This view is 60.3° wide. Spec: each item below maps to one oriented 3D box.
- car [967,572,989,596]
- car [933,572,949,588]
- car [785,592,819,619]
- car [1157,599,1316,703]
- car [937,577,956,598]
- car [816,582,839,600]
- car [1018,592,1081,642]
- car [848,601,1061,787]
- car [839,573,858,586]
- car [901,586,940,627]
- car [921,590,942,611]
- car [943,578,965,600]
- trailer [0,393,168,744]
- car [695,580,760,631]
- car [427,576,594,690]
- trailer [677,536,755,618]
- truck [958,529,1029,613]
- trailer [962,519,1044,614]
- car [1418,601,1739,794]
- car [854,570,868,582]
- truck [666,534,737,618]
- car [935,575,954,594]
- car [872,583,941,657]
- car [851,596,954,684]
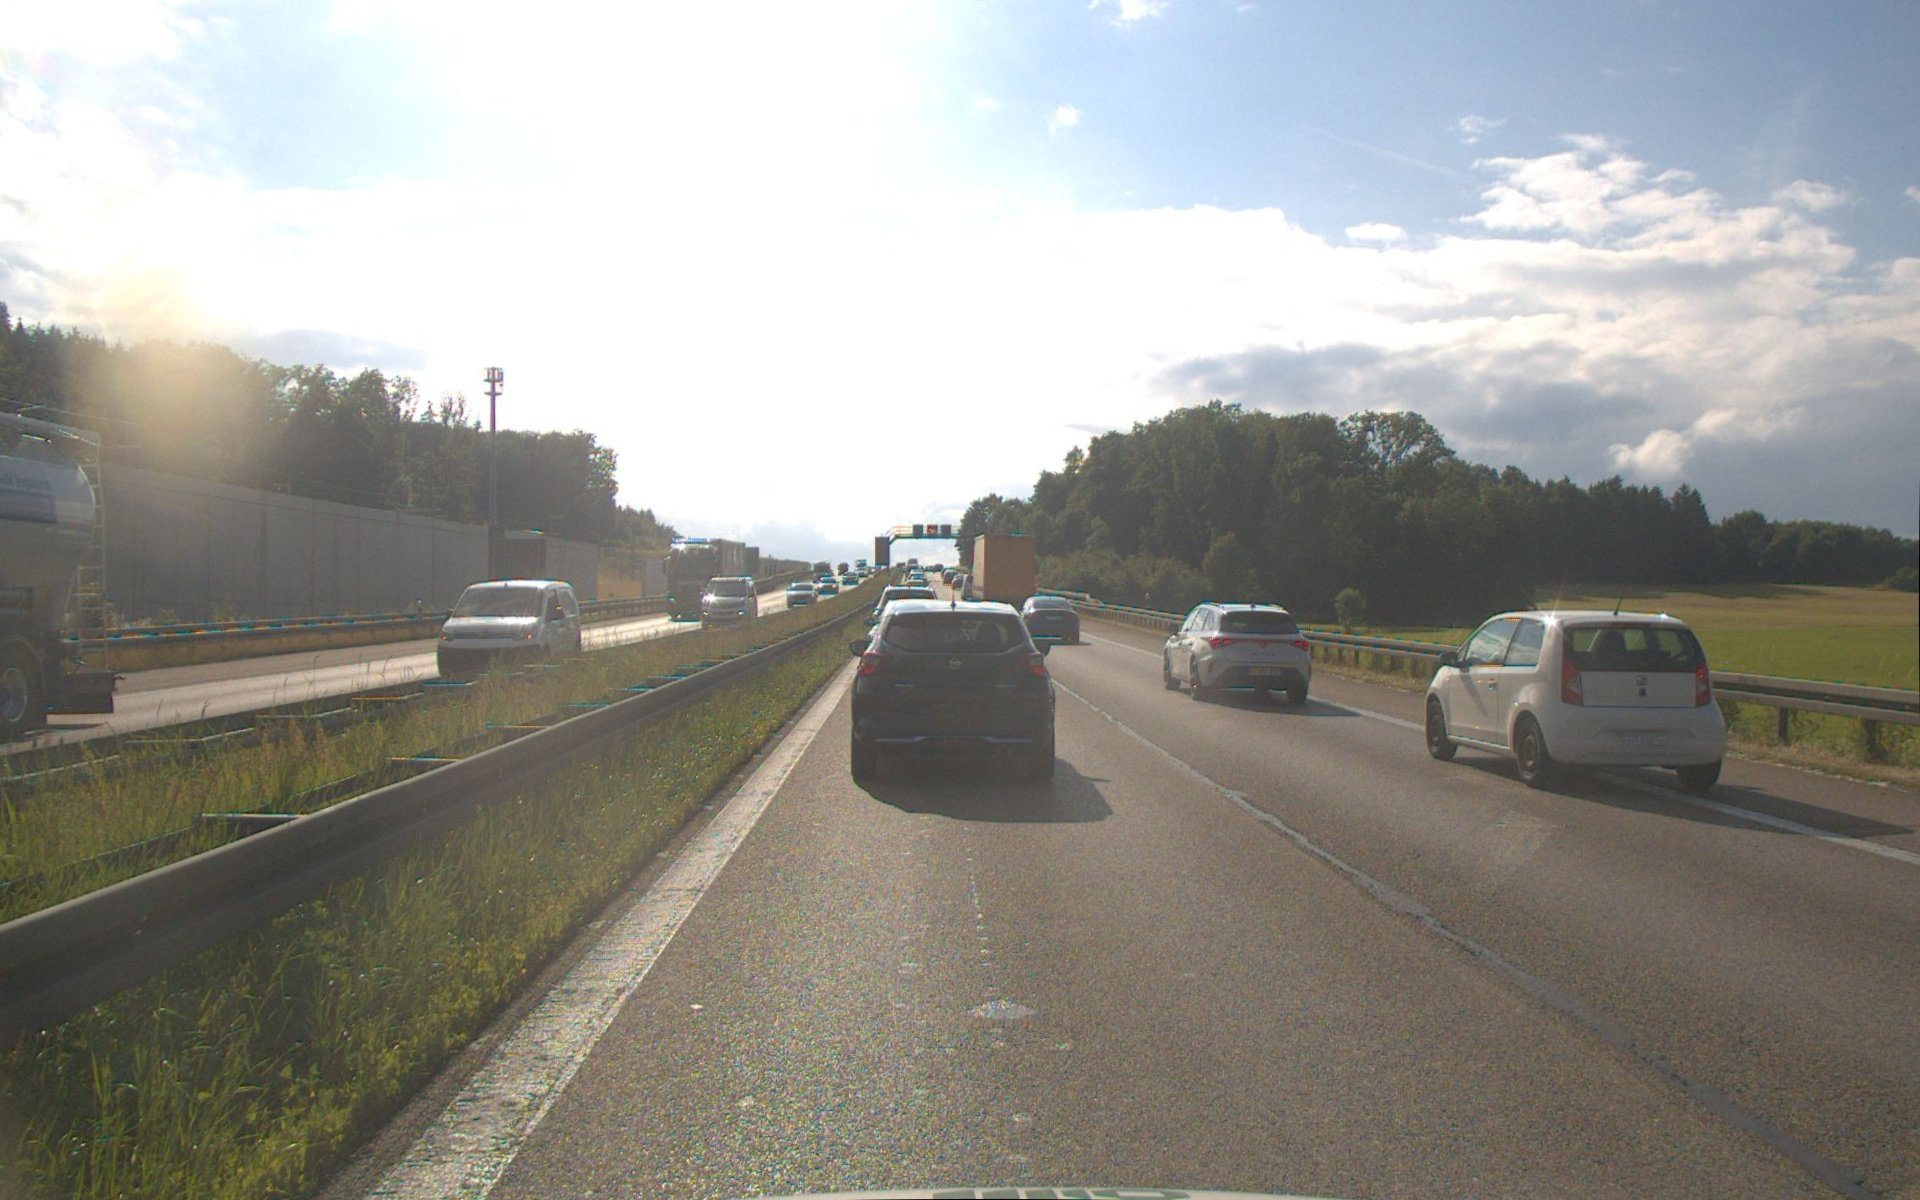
[{"bbox_3d":[1.419,-1.209,128.666,1.633,1.785,3.326,1,-1,0],"label":"car"},{"bbox_3d":[-2.561,-2.713,221.506,1.953,2.049,3.998,1,-1,-2],"label":"car"},{"bbox_3d":[-10.216,0.365,107.191,1.850,1.660,5.109,1,0,-2],"label":"car"},{"bbox_3d":[4.245,0.753,25.957,1.588,1.471,4.144,1,-1,-3],"label":"car"},{"bbox_3d":[-1.172,-1.116,146.855,1.633,1.785,3.326,1,-1,0],"label":"car"},{"bbox_3d":[-11.731,-0.784,146.457,1.864,1.490,4.182,1,0,-2],"label":"car"},{"bbox_3d":[2.781,0.528,52.036,1.711,1.501,4.146,1,-1,-1],"label":"car"},{"bbox_3d":[-0.040,0.764,14.832,1.675,1.451,3.377,1,-1,0],"label":"car"},{"bbox_3d":[-12.716,-2.327,188.737,1.953,1.458,4.447,1,0,-2],"label":"car"},{"bbox_3d":[-2.096,0.351,87.510,1.953,2.049,3.998,1,-1,-2],"label":"car"},{"bbox_3d":[-2.418,0.043,141.278,1.633,1.785,3.326,1,-1,0],"label":"car"},{"bbox_3d":[-0.613,-1.039,162.880,1.953,2.049,3.998,1,-1,-2],"label":"car"},{"bbox_3d":[-11.680,-0.344,15.609,2.488,3.837,12.538,-1,0,-1],"label":"trailer"},{"bbox_3d":[-9.209,0.226,65.716,1.953,1.916,4.785,-2,0,-1],"label":"car"},{"bbox_3d":[-7.927,0.561,29.566,1.822,1.866,4.279,1,0,-1],"label":"car"},{"bbox_3d":[-13.393,-1.132,91.916,2.703,4.187,12.900,0,0,-1],"label":"trailer"},{"bbox_3d":[1.799,-1.548,92.917,3.510,4.456,6.685,1,-1,-2],"label":"truck"},{"bbox_3d":[2.084,-1.560,86.190,3.477,4.535,12.716,1,0,-2],"label":"trailer"},{"bbox_3d":[5.480,0.792,15.081,1.518,1.521,3.376,1,0,-3],"label":"car"},{"bbox_3d":[-14.317,-3.471,239.526,1.953,1.621,4.447,1,0,-2],"label":"car"},{"bbox_3d":[-13.277,-1.170,85.476,2.698,4.162,6.951,0,-1,-1],"label":"truck"},{"bbox_3d":[-1.727,-1.728,183.405,1.953,2.049,3.998,1,-1,-2],"label":"car"},{"bbox_3d":[-1.304,0.491,41.566,1.640,1.756,3.595,1,-1,-1],"label":"car"},{"bbox_3d":[-0.941,0.661,28.414,1.640,1.391,3.595,1,-1,-1],"label":"car"}]
